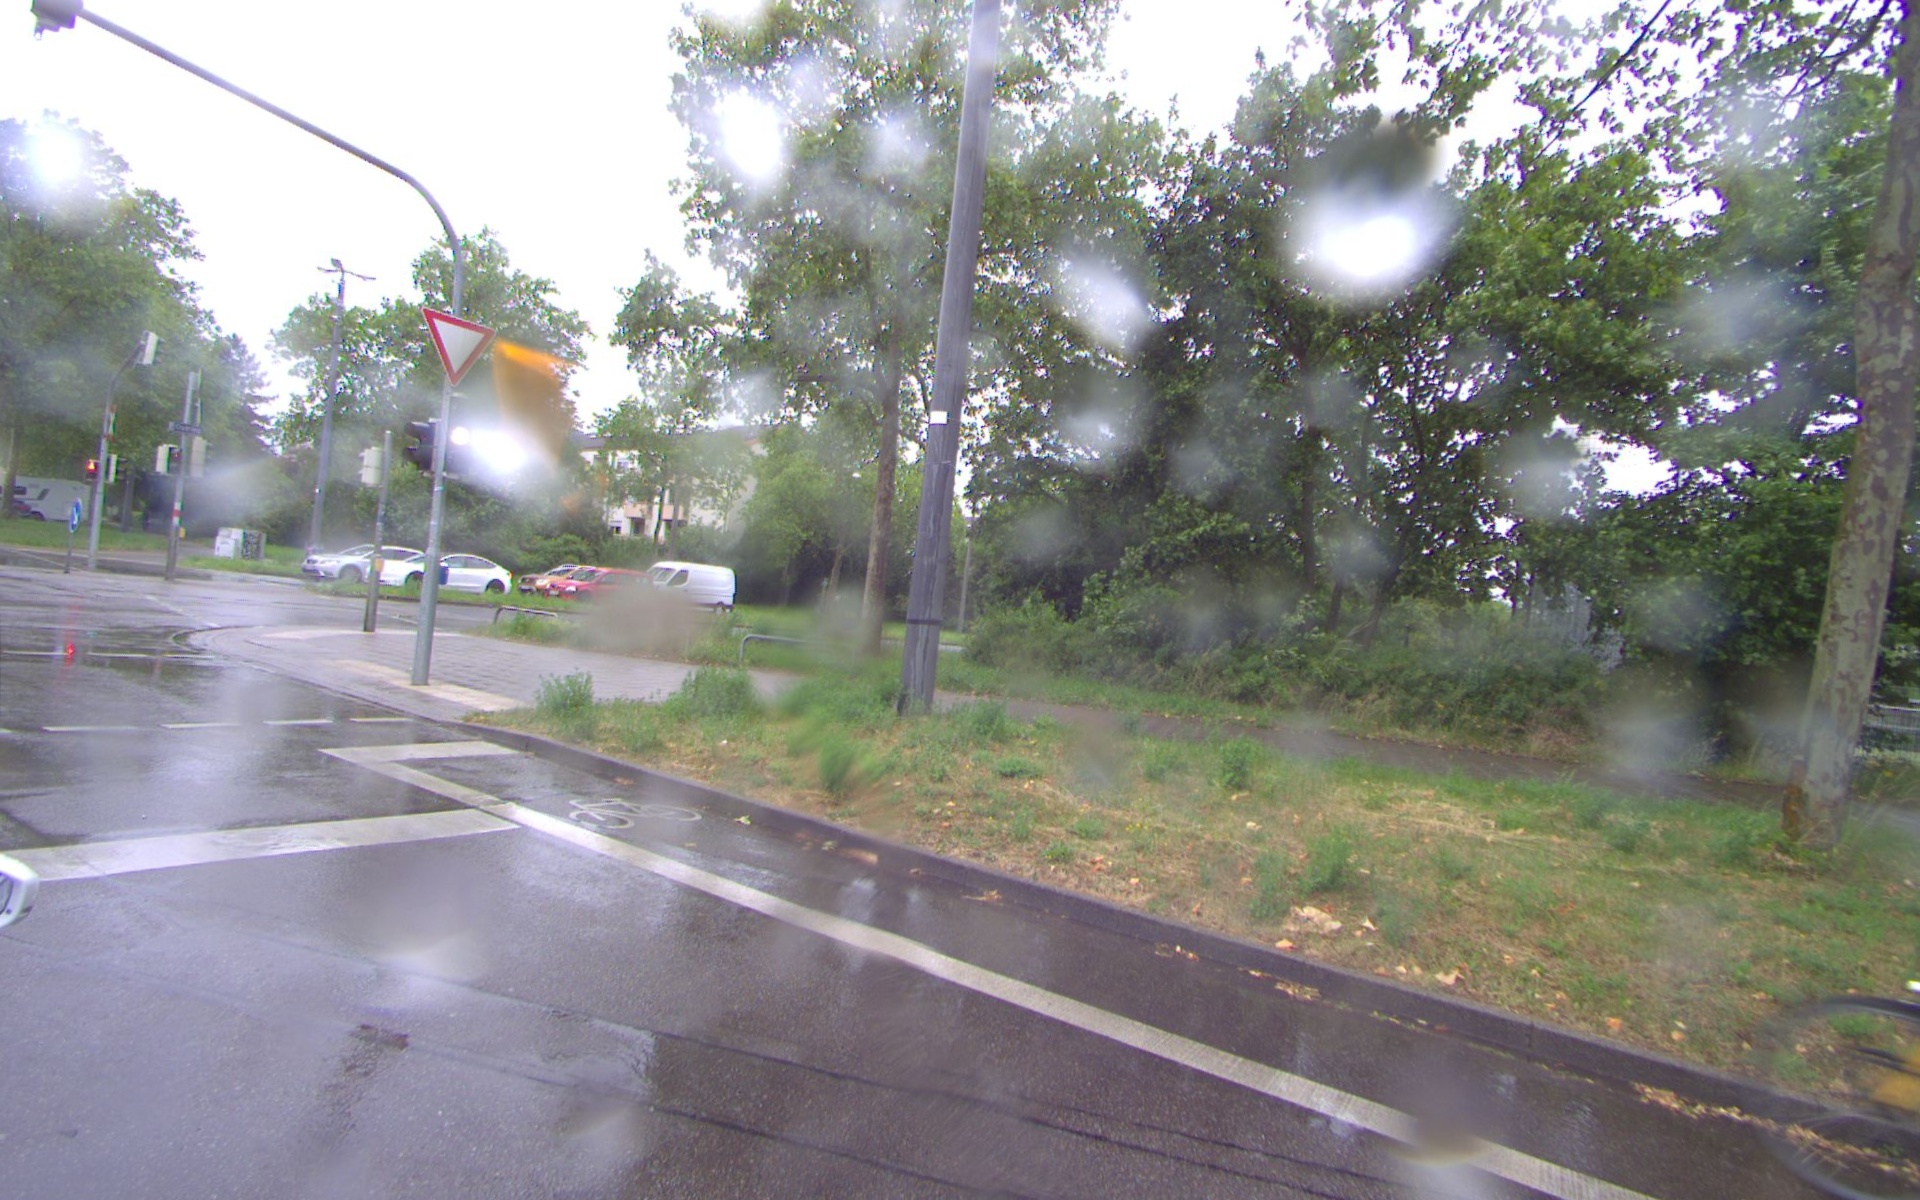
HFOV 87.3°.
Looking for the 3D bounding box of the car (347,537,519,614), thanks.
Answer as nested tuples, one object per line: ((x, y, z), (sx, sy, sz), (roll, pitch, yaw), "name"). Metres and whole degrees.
((-17.144, -0.742, 32.981), (1.900, 1.849, 4.608), (7, -2, 26), "car")

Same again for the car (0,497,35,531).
((-55.772, -5.136, 57.159), (4.424, 1.736, 1.980), (9, -2, -37), "car")

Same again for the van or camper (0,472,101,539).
((-56.882, -5.898, 60.744), (7.296, 3.215, 3.226), (9, -2, -40), "van or camper")

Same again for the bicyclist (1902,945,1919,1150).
((3.571, 1.100, 3.031), (0.830, 1.523, 0.692), (6, -1, 31), "bicyclist")

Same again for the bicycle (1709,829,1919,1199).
((3.514, 1.477, 3.038), (1.854, 1.130, 0.692), (6, -2, 32), "bicycle")

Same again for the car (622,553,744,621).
((-12.981, -0.543, 47.599), (1.966, 2.419, 5.619), (6, -2, 29), "car")

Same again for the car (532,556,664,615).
((-13.795, -0.504, 38.609), (1.760, 1.625, 4.615), (6, -2, 29), "car")

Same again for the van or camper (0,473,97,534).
((-63.217, -6.652, 67.598), (7.388, 3.215, 3.231), (9, -2, -36), "van or camper")

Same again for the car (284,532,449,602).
((-20.144, -1.063, 34.378), (1.900, 1.710, 4.407), (7, -2, 26), "car")

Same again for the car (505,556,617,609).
((-16.398, -0.691, 41.538), (1.759, 1.625, 4.069), (7, -2, 26), "car")
